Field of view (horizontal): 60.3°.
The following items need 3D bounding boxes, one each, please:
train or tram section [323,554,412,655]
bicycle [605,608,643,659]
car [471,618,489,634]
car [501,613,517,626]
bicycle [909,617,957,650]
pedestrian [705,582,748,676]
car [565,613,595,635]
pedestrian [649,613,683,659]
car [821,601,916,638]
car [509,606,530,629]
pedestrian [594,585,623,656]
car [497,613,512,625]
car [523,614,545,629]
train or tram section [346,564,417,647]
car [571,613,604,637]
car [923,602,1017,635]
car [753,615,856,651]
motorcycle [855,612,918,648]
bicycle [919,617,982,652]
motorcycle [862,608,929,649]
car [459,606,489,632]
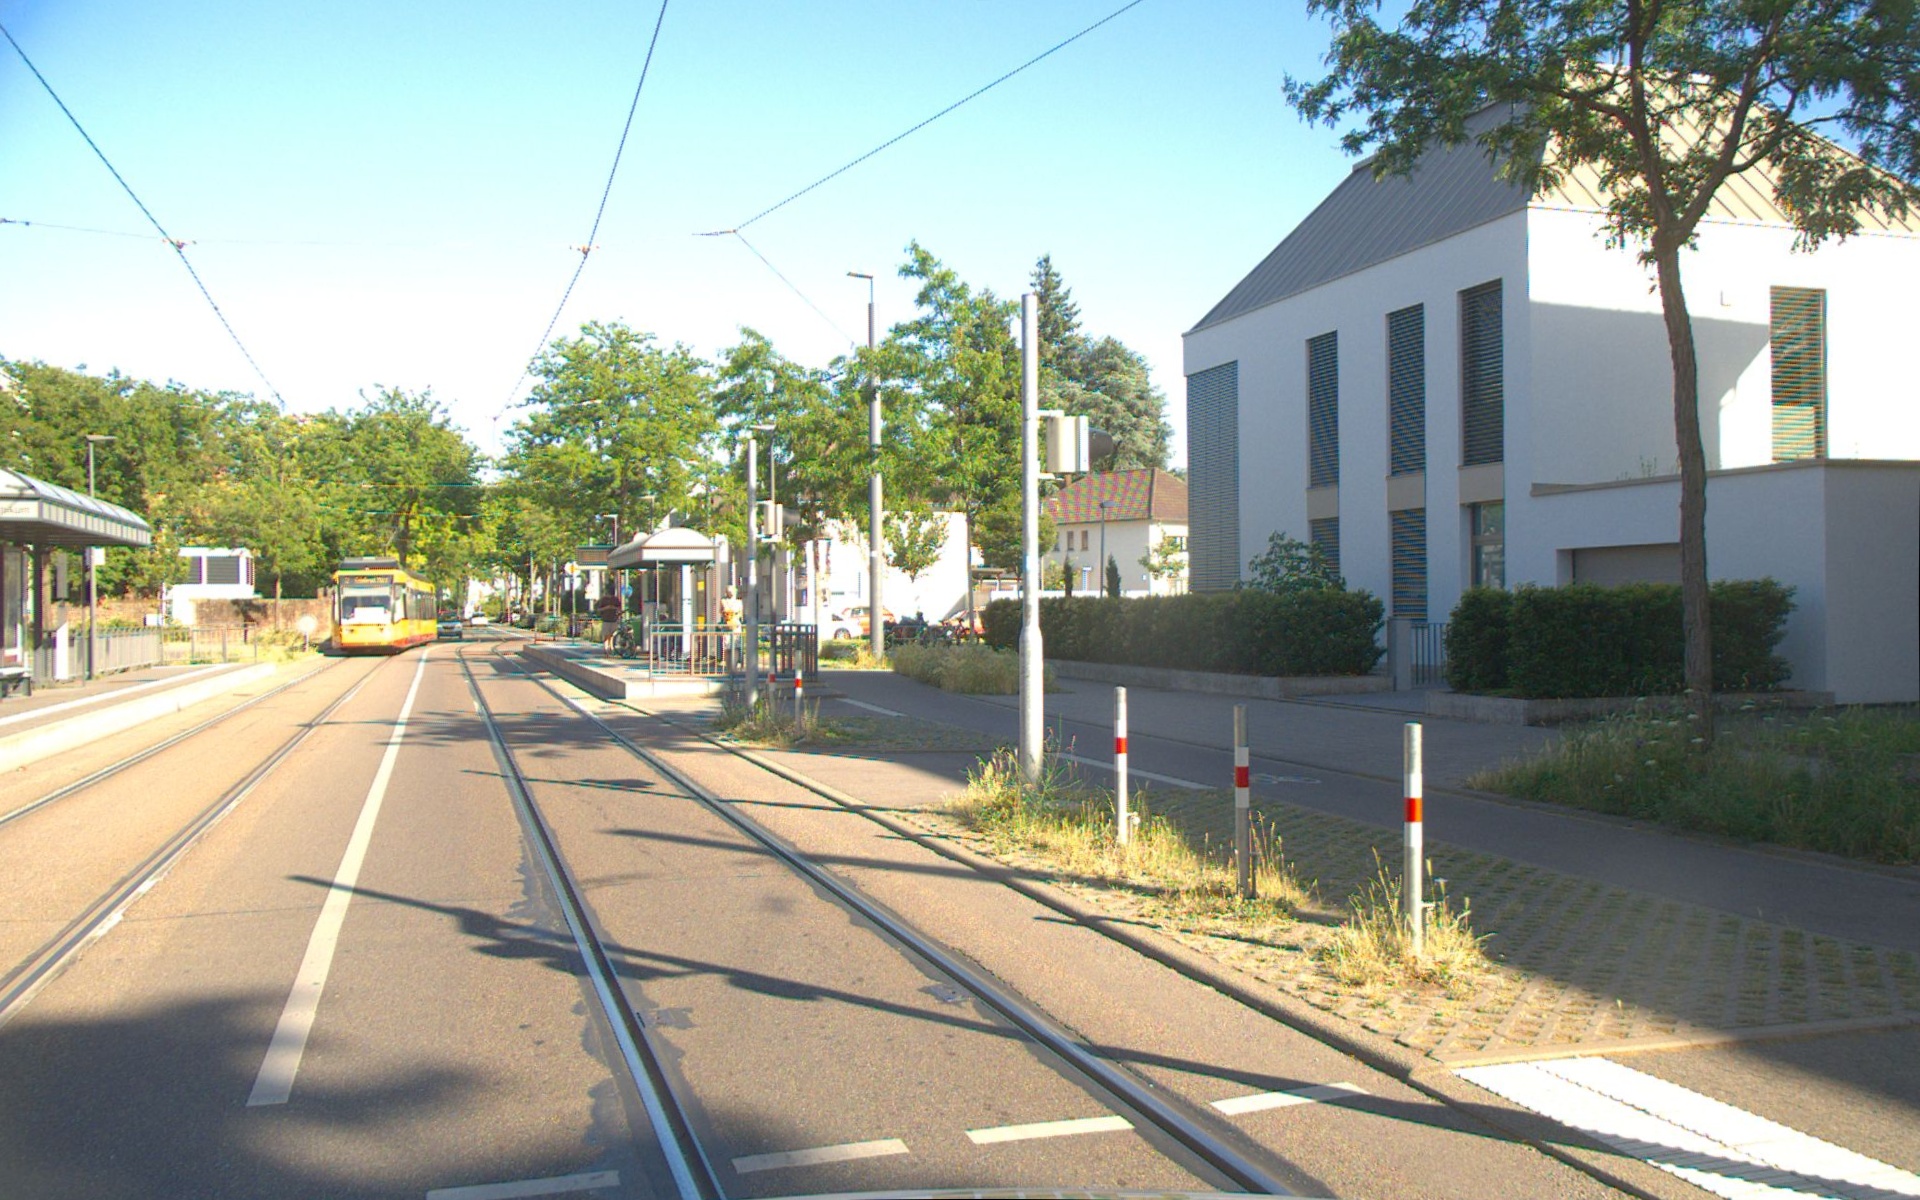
[{"bbox_3d":[-21.725,0.173,60.905,2.760,3.520,6.635,0,0,-17],"label":"train or tram section"},{"bbox_3d":[-8.466,0.822,41.654,0.611,1.251,1.954,0,-1,-21],"label":"bicycle"},{"bbox_3d":[-53.693,2.921,184.942,1.836,1.704,4.155,-1,0,-16],"label":"car"},{"bbox_3d":[-63.510,2.743,232.911,1.972,1.704,4.370,-3,0,-18],"label":"car"},{"bbox_3d":[-0.849,1.037,51.661,1.451,0.996,0.413,-1,0,-25],"label":"bicycle"},{"bbox_3d":[-4.333,0.536,30.685,0.661,1.734,0.687,1,-1,-19],"label":"pedestrian"},{"bbox_3d":[-26.886,1.683,116.972,1.721,1.521,3.976,-2,0,-18],"label":"car"},{"bbox_3d":[-7.332,0.900,41.241,0.726,1.137,0.655,1,-1,-18],"label":"pedestrian"},{"bbox_3d":[-4.287,0.898,77.577,4.100,1.671,1.971,0,-1,-20],"label":"car"},{"bbox_3d":[-53.908,2.103,202.306,2.211,2.700,5.557,-1,0,-18],"label":"car"},{"bbox_3d":[-9.430,0.550,44.315,0.699,1.886,0.726,1,-1,-16],"label":"pedestrian"},{"bbox_3d":[-68.764,2.895,249.467,1.969,1.704,4.376,-3,0,-14],"label":"car"},{"bbox_3d":[-44.518,2.223,172.837,1.758,1.473,4.277,-4,1,-19],"label":"car"},{"bbox_3d":[-25.661,0.260,73.592,2.760,3.520,6.635,0,0,-17],"label":"train or tram section"},{"bbox_3d":[-25.019,1.649,110.955,1.721,1.521,4.421,-2,0,-18],"label":"car"},{"bbox_3d":[0.472,0.886,79.595,4.109,1.534,1.967,0,-1,-25],"label":"car"},{"bbox_3d":[-6.988,1.487,74.257,4.517,1.492,1.978,-1,-2,-9],"label":"car"},{"bbox_3d":[-2.516,1.020,56.409,1.972,1.178,0.855,-1,0,-25],"label":"motorcycle"},{"bbox_3d":[-0.299,1.037,50.301,1.873,0.996,0.487,-1,0,-25],"label":"bicycle"},{"bbox_3d":[-2.125,0.924,54.800,2.050,1.296,0.855,-1,0,-25],"label":"motorcycle"},{"bbox_3d":[-32.896,1.281,112.020,1.734,1.693,4.195,-1,0,-13],"label":"car"}]
